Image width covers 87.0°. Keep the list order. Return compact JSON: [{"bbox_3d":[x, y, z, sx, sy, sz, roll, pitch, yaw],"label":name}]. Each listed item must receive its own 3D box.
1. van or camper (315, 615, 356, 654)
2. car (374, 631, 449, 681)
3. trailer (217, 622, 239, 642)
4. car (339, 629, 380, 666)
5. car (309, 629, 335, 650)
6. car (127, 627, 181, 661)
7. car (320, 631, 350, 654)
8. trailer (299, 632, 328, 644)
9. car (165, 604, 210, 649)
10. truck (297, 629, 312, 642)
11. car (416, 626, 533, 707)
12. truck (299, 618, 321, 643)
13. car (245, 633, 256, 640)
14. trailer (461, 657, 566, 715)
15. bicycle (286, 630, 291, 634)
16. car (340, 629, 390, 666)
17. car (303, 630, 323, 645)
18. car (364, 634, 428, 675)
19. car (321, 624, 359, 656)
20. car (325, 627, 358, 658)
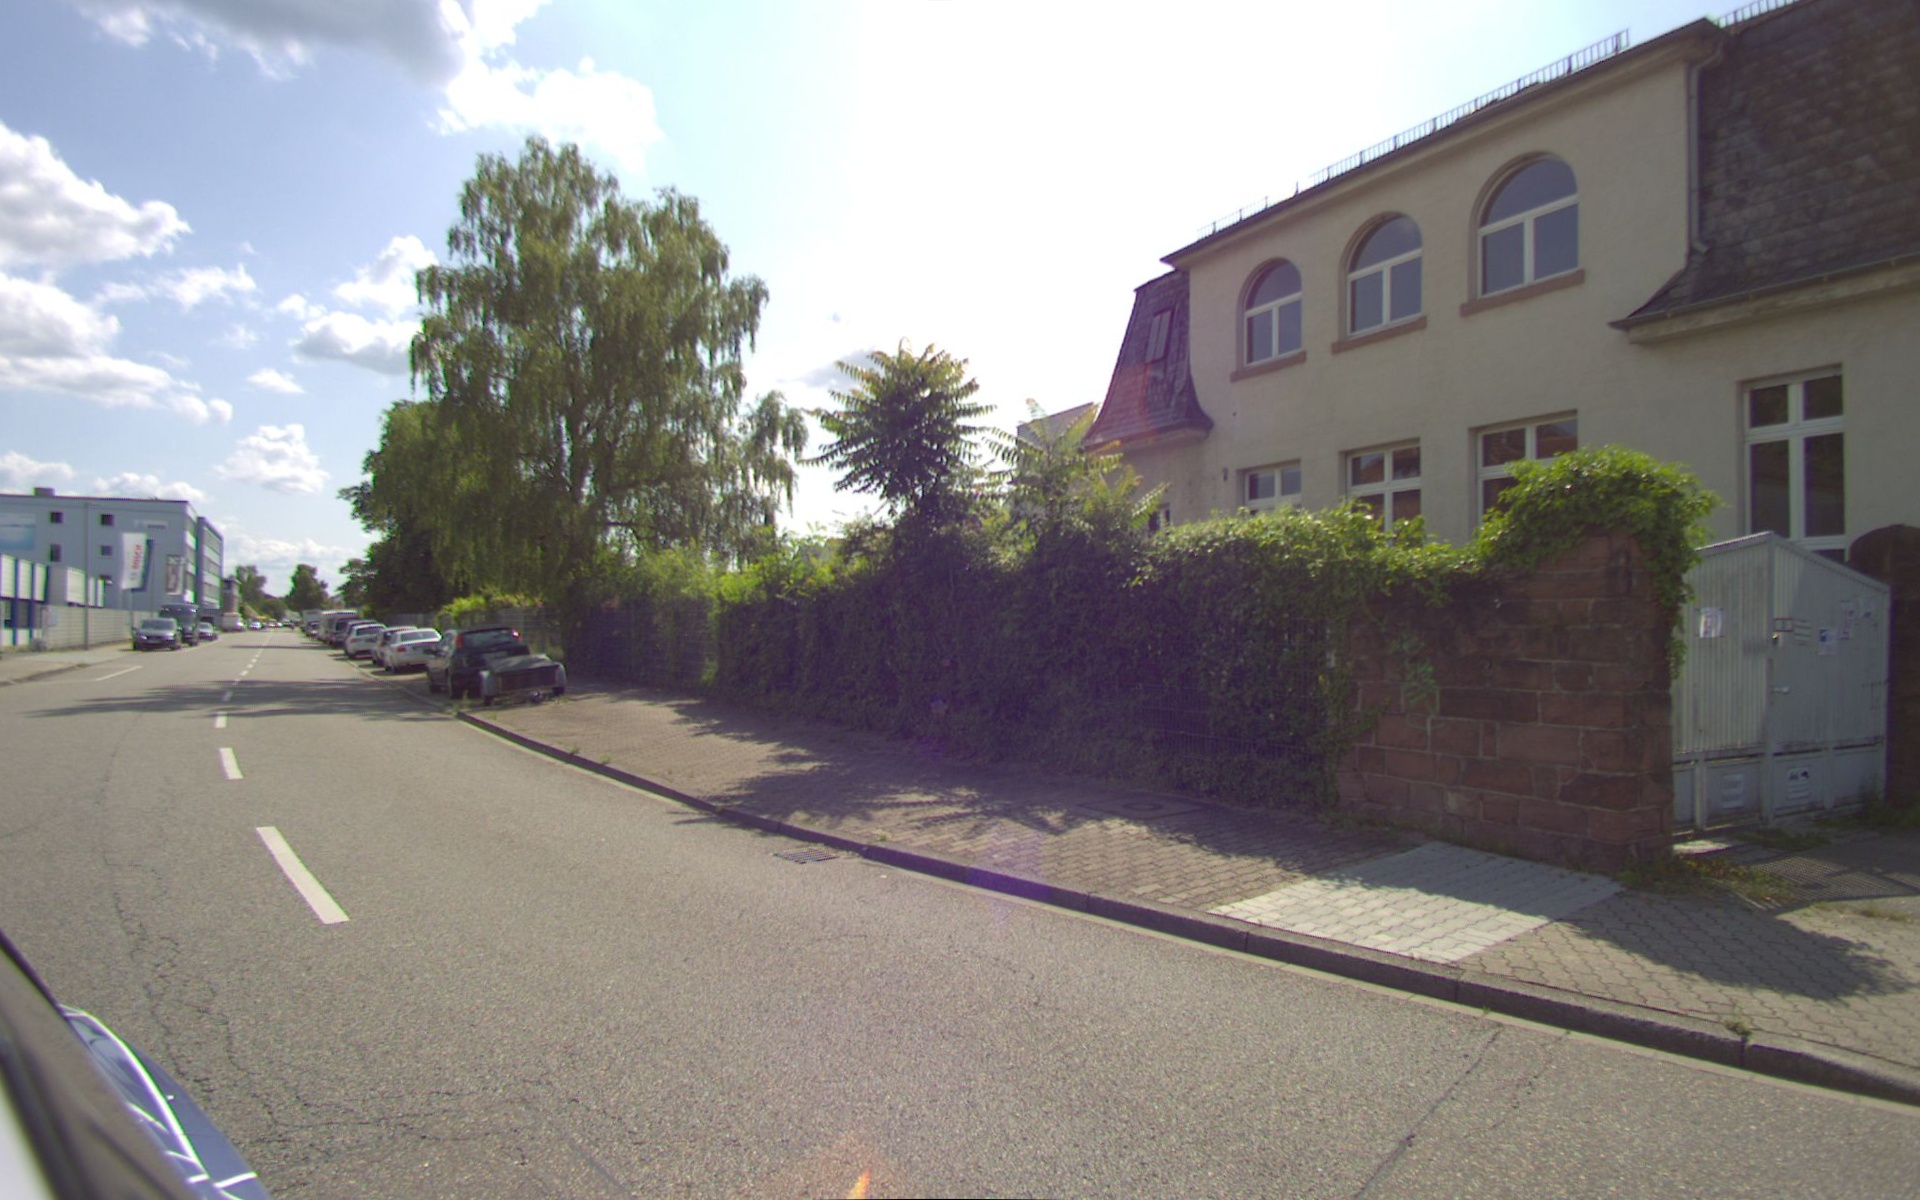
[{"bbox_3d":[-49.640,2.695,80.367,2.233,2.824,6.850,-3,0,-36],"label":"van or camper"},{"bbox_3d":[-19.035,1.881,35.007,1.701,1.488,4.642,-3,0,-35],"label":"car"},{"bbox_3d":[-93.932,4.132,129.849,1.843,2.573,5.086,2,-3,-31],"label":"trailer"},{"bbox_3d":[-30.673,2.380,51.641,1.588,1.758,4.649,-1,-1,-33],"label":"car"},{"bbox_3d":[-58.078,3.580,92.128,1.802,1.807,4.747,2,-2,-35],"label":"car"},{"bbox_3d":[-42.258,2.291,53.149,1.800,1.677,4.568,2,-3,-34],"label":"car"},{"bbox_3d":[-45.825,3.098,74.192,1.603,1.544,4.279,-3,0,-34],"label":"car"},{"bbox_3d":[-63.873,3.730,99.991,2.241,0.889,7.150,-4,1,-34],"label":"trailer"},{"bbox_3d":[-50.096,1.761,65.705,1.911,2.769,6.170,2,-3,-34],"label":"car"},{"bbox_3d":[-118.308,6.349,182.697,2.099,2.256,7.370,-2,-1,-31],"label":"truck"},{"bbox_3d":[-11.003,1.414,22.794,1.660,1.523,4.168,-3,1,-35],"label":"car"},{"bbox_3d":[-93.384,4.354,145.309,2.220,3.387,6.924,-4,0,-35],"label":"truck"},{"bbox_3d":[-139.962,7.259,199.650,1.631,1.342,4.010,2,-3,-34],"label":"car"},{"bbox_3d":[-8.802,1.646,19.871,1.444,0.857,2.473,-4,1,-33],"label":"trailer"},{"bbox_3d":[-121.237,5.848,182.665,0.579,0.747,2.131,1,-2,-31],"label":"bicycle"},{"bbox_3d":[-27.320,2.164,46.401,1.677,1.607,4.800,2,-3,-33],"label":"car"},{"bbox_3d":[-68.344,3.984,106.879,1.556,1.524,4.211,1,-2,-36],"label":"car"},{"bbox_3d":[-22.364,2.116,40.041,1.770,1.539,4.671,2,-3,-34],"label":"car"},{"bbox_3d":[-42.560,2.699,69.443,1.873,1.969,4.971,-5,2,-34],"label":"car"},{"bbox_3d":[-38.967,2.650,63.726,1.677,1.815,3.837,-3,0,-32],"label":"car"}]
